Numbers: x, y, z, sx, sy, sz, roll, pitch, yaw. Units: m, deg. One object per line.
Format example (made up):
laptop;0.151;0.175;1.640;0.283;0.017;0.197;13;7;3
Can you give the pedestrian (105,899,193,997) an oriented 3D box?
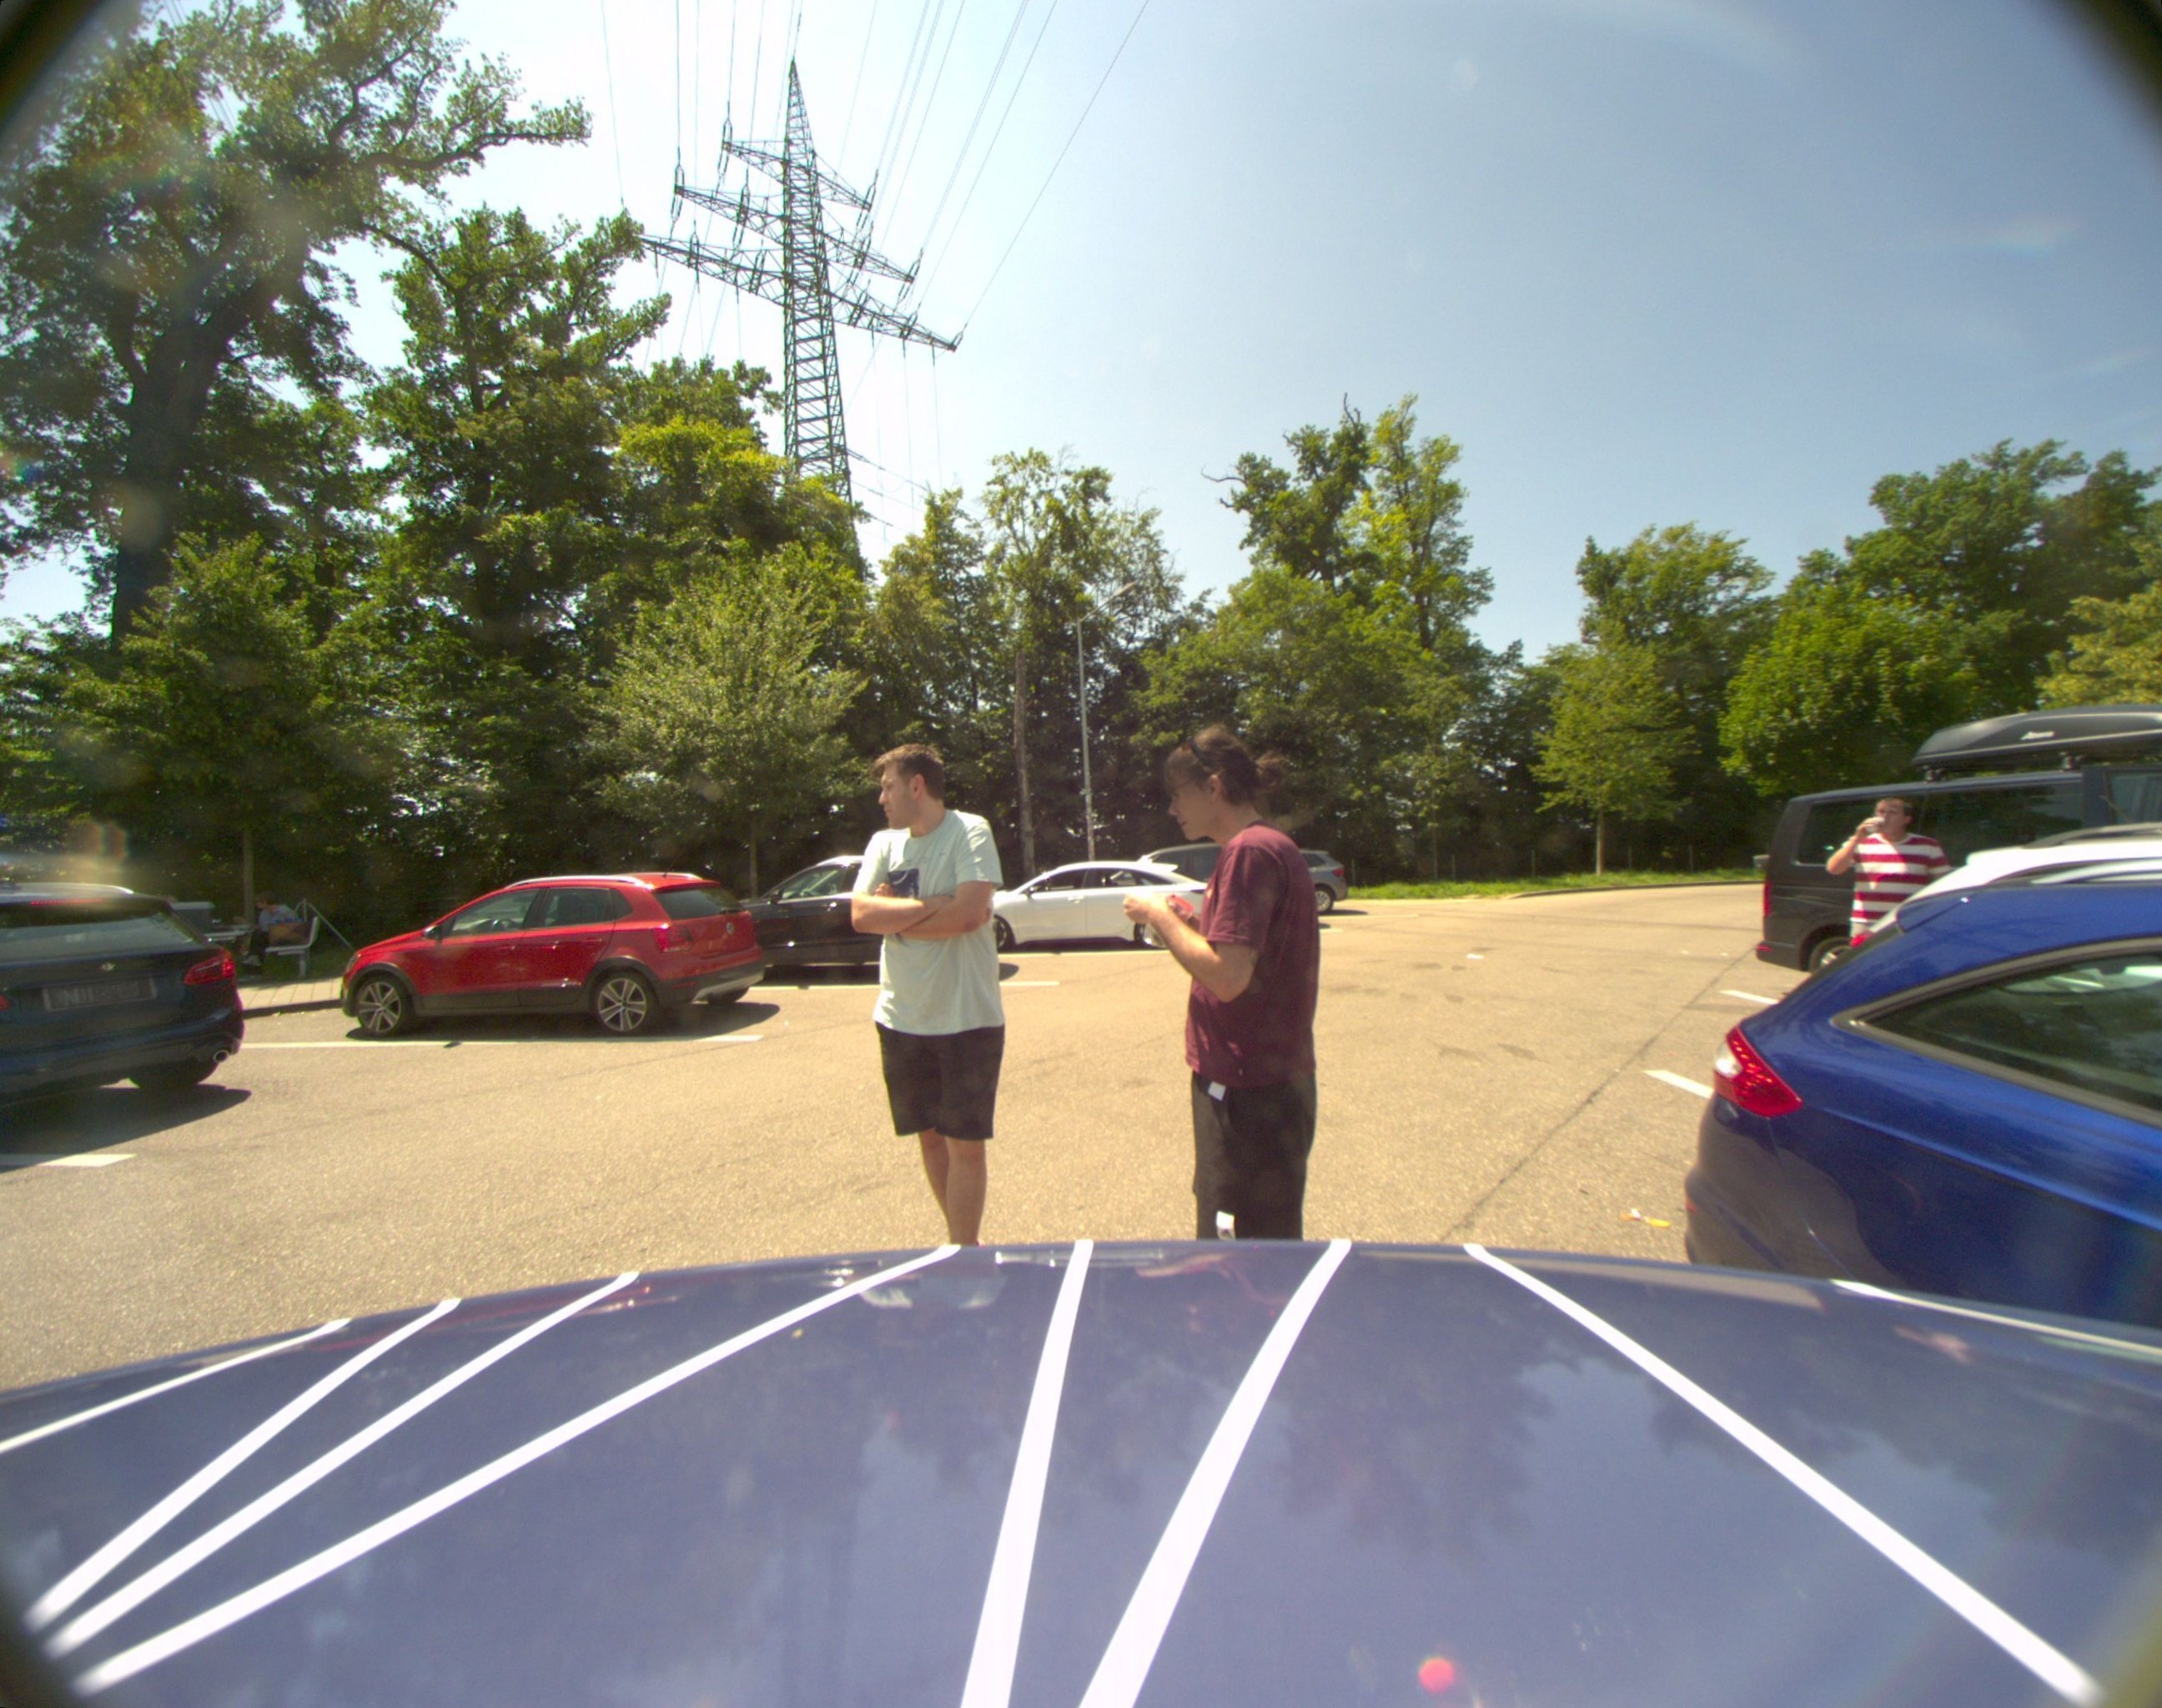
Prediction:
pedestrian;-12.717;1.266;10.382;0.595;1.238;0.446;-3;1;-33

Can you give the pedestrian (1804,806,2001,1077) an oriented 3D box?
pedestrian;5.817;0.556;5.398;0.786;1.744;0.753;-3;1;-27

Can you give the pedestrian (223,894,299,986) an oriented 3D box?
pedestrian;-11.850;1.226;10.995;0.595;1.238;0.499;-3;1;-33

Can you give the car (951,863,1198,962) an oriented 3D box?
car;-0.063;0.933;12.681;3.825;1.394;1.651;-2;1;4

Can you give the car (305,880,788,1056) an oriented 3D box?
car;-5.220;1.088;7.678;3.823;1.460;1.651;-2;1;8

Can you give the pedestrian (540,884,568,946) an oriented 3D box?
pedestrian;-10.152;1.161;14.632;0.357;1.158;0.384;-3;2;-41

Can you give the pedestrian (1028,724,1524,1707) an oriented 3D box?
pedestrian;0.477;0.715;1.936;0.919;1.894;0.815;-2;1;16

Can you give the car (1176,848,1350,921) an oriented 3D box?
car;4.279;0.709;18.157;3.822;1.551;1.652;-2;1;12

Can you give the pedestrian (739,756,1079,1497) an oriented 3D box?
pedestrian;-0.498;0.714;2.494;0.814;1.939;0.920;-2;1;-7

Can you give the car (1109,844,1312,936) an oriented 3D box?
car;2.619;0.711;15.462;3.822;1.686;1.652;-2;1;12

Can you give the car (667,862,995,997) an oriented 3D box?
car;-3.238;0.961;10.306;3.825;1.546;1.651;-2;1;4

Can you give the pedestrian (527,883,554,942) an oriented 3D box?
pedestrian;-10.996;1.184;15.448;0.357;1.158;0.384;-3;2;-41

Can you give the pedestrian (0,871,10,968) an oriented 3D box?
pedestrian;-18.167;1.097;12.349;0.573;1.596;0.646;-3;1;-27

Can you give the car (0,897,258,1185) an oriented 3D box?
car;-8.215;1.142;4.882;4.338;1.544;1.749;-1;1;8

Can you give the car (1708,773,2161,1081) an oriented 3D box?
car;7.385;0.416;5.289;1.758;1.886;4.571;-3;-1;-9

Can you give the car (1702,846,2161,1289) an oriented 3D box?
car;4.656;0.729;2.258;1.757;1.496;4.574;-3;-1;-1
